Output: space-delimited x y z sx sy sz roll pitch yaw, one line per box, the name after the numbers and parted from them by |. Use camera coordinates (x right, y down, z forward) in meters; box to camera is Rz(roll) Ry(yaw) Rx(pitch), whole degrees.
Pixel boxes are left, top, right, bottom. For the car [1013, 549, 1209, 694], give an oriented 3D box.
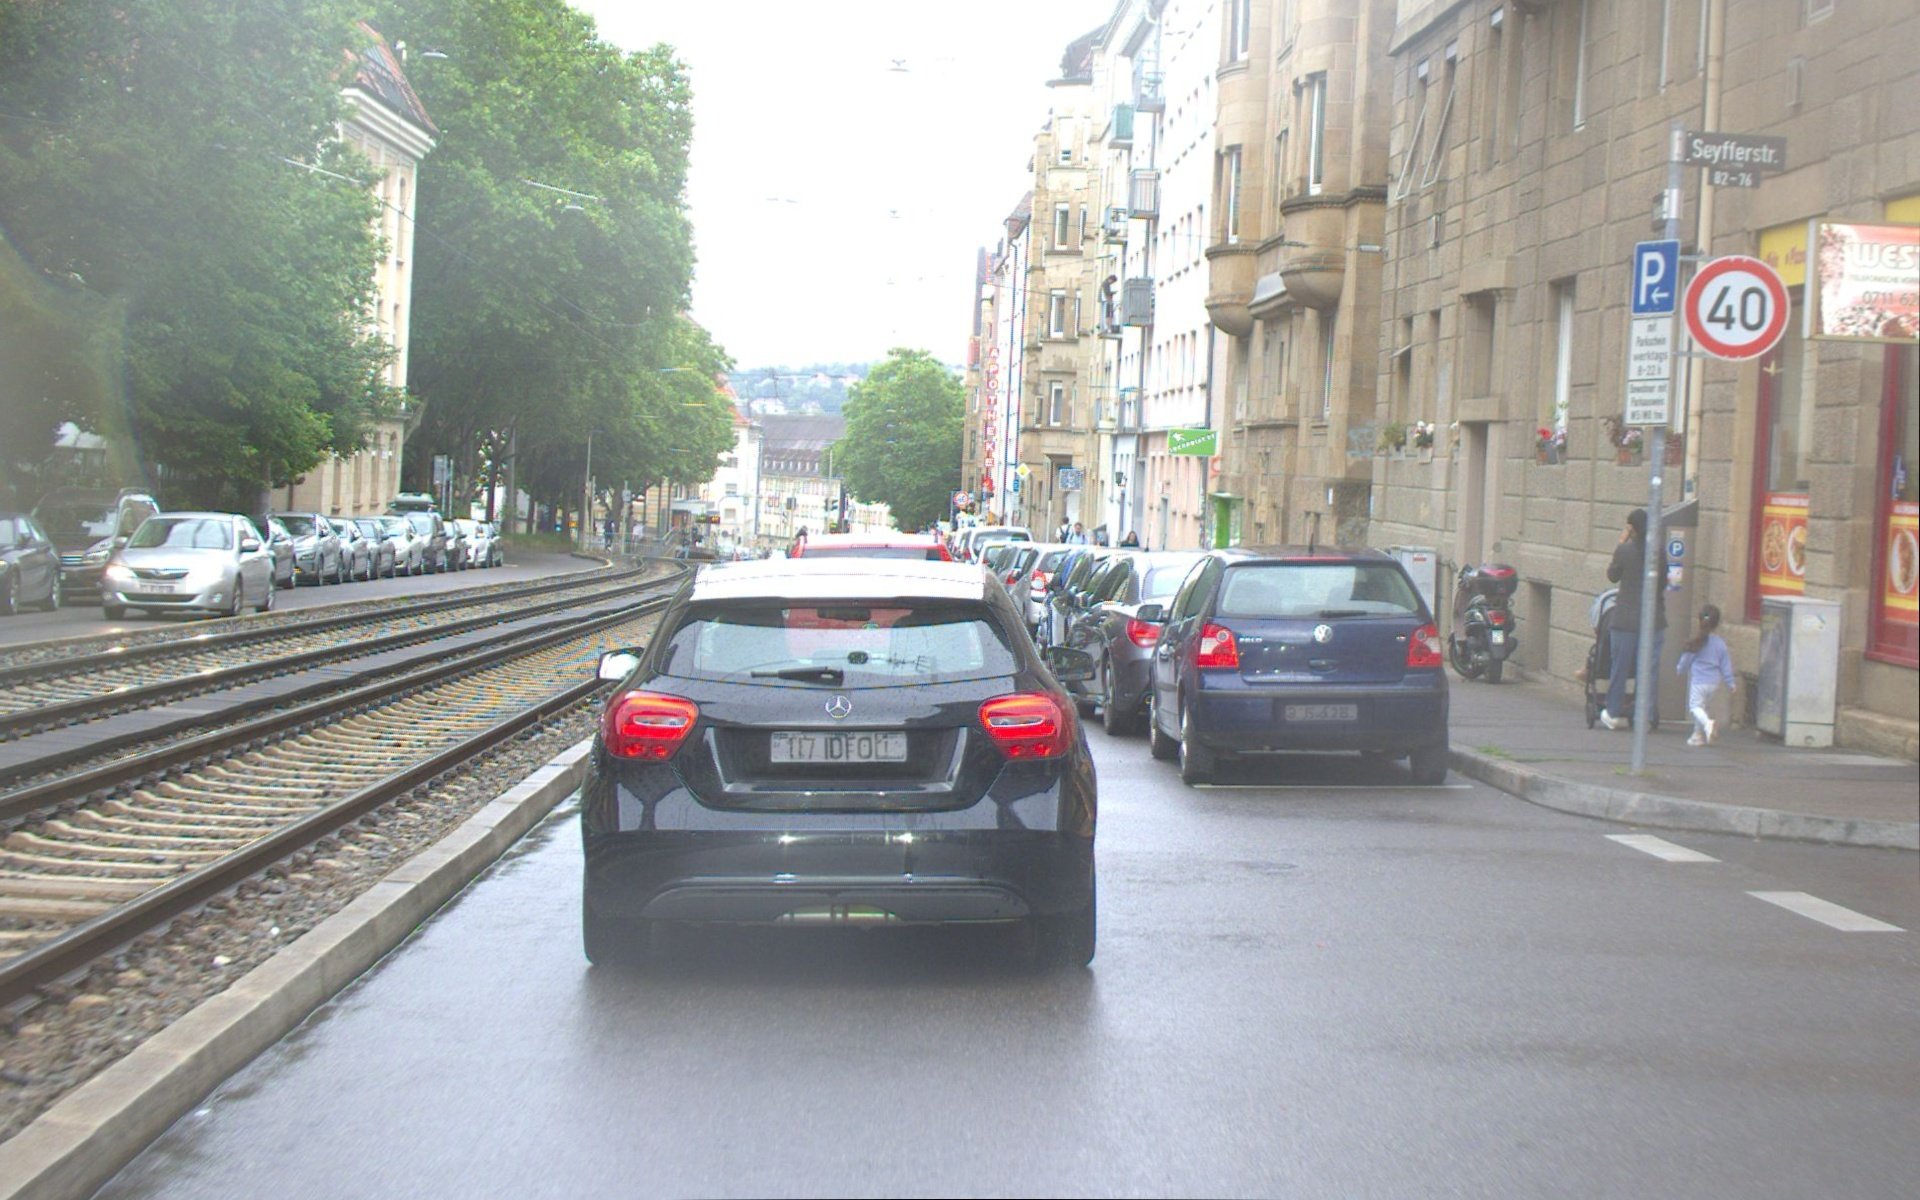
1.629 0.200 38.316 1.787 1.457 4.084 2 1 -3 | car

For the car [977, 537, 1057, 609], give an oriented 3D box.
1.207 -0.600 74.210 1.570 1.457 3.600 1 1 -1 | car

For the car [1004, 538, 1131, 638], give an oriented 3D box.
1.598 -0.209 52.309 1.590 1.429 3.685 1 1 -3 | car

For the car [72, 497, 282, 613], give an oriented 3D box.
-10.463 -0.618 46.225 1.981 1.452 4.295 1 1 -2 | car

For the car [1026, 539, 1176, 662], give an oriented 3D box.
1.721 -0.022 42.862 1.543 1.410 3.447 2 1 -2 | car

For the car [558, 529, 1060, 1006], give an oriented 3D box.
-0.537 0.507 12.923 1.580 1.499 3.575 2 1 -2 | car

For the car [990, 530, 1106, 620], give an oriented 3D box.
1.436 -0.448 57.514 1.667 1.429 3.957 1 1 -2 | car

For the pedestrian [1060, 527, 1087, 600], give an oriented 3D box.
2.741 -0.885 83.194 0.607 1.757 0.688 0 1 -2 | pedestrian

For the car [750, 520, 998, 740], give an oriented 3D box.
-0.673 0.182 27.411 1.785 1.575 4.000 2 1 -1 | car

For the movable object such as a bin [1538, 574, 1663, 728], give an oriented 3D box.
4.837 0.372 26.020 0.665 1.099 1.124 2 1 -1 | movable object such as a bin

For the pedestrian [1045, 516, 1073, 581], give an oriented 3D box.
2.789 -1.451 96.559 0.746 1.827 1.039 -1 1 0 | pedestrian

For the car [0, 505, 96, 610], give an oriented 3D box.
-13.377 -0.627 47.841 1.762 1.393 4.270 1 1 -2 | car

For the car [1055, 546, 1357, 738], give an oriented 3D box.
1.872 0.275 27.530 1.754 1.382 4.486 0 1 -4 | car

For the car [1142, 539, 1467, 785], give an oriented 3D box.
2.140 0.334 22.259 1.671 1.439 3.790 0 1 -1 | car

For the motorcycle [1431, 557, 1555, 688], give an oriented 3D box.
5.217 0.198 33.811 0.705 1.194 2.746 2 1 -1 | motorcycle

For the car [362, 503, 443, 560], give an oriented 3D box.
-14.097 -1.735 87.104 1.539 1.409 3.953 0 1 -2 | car

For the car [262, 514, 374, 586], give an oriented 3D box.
-14.116 -1.116 75.813 1.754 1.531 4.543 0 1 -2 | car

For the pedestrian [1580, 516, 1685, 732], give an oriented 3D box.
4.898 0.166 25.056 0.561 1.530 0.710 2 1 -1 | pedestrian

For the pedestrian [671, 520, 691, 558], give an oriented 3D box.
-11.751 -2.573 144.850 0.806 1.628 0.892 0 1 -1 | pedestrian

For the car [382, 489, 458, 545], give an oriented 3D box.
-14.761 -2.271 94.132 1.539 1.500 4.155 0 1 -2 | car

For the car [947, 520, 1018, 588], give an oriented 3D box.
0.617 -1.266 93.289 1.828 1.744 4.467 2 1 0 | car

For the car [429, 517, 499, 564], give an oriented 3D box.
-14.749 -1.783 102.298 1.500 1.386 3.987 0 1 0 | car

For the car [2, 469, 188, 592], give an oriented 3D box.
-13.566 -1.100 54.188 1.800 1.840 4.819 1 1 -1 | car

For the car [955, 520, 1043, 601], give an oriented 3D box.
0.865 -0.923 78.371 1.790 1.759 4.212 1 1 -2 | car

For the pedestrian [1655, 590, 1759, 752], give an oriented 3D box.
5.000 0.470 23.031 0.510 1.046 0.627 2 1 -1 | pedestrian
